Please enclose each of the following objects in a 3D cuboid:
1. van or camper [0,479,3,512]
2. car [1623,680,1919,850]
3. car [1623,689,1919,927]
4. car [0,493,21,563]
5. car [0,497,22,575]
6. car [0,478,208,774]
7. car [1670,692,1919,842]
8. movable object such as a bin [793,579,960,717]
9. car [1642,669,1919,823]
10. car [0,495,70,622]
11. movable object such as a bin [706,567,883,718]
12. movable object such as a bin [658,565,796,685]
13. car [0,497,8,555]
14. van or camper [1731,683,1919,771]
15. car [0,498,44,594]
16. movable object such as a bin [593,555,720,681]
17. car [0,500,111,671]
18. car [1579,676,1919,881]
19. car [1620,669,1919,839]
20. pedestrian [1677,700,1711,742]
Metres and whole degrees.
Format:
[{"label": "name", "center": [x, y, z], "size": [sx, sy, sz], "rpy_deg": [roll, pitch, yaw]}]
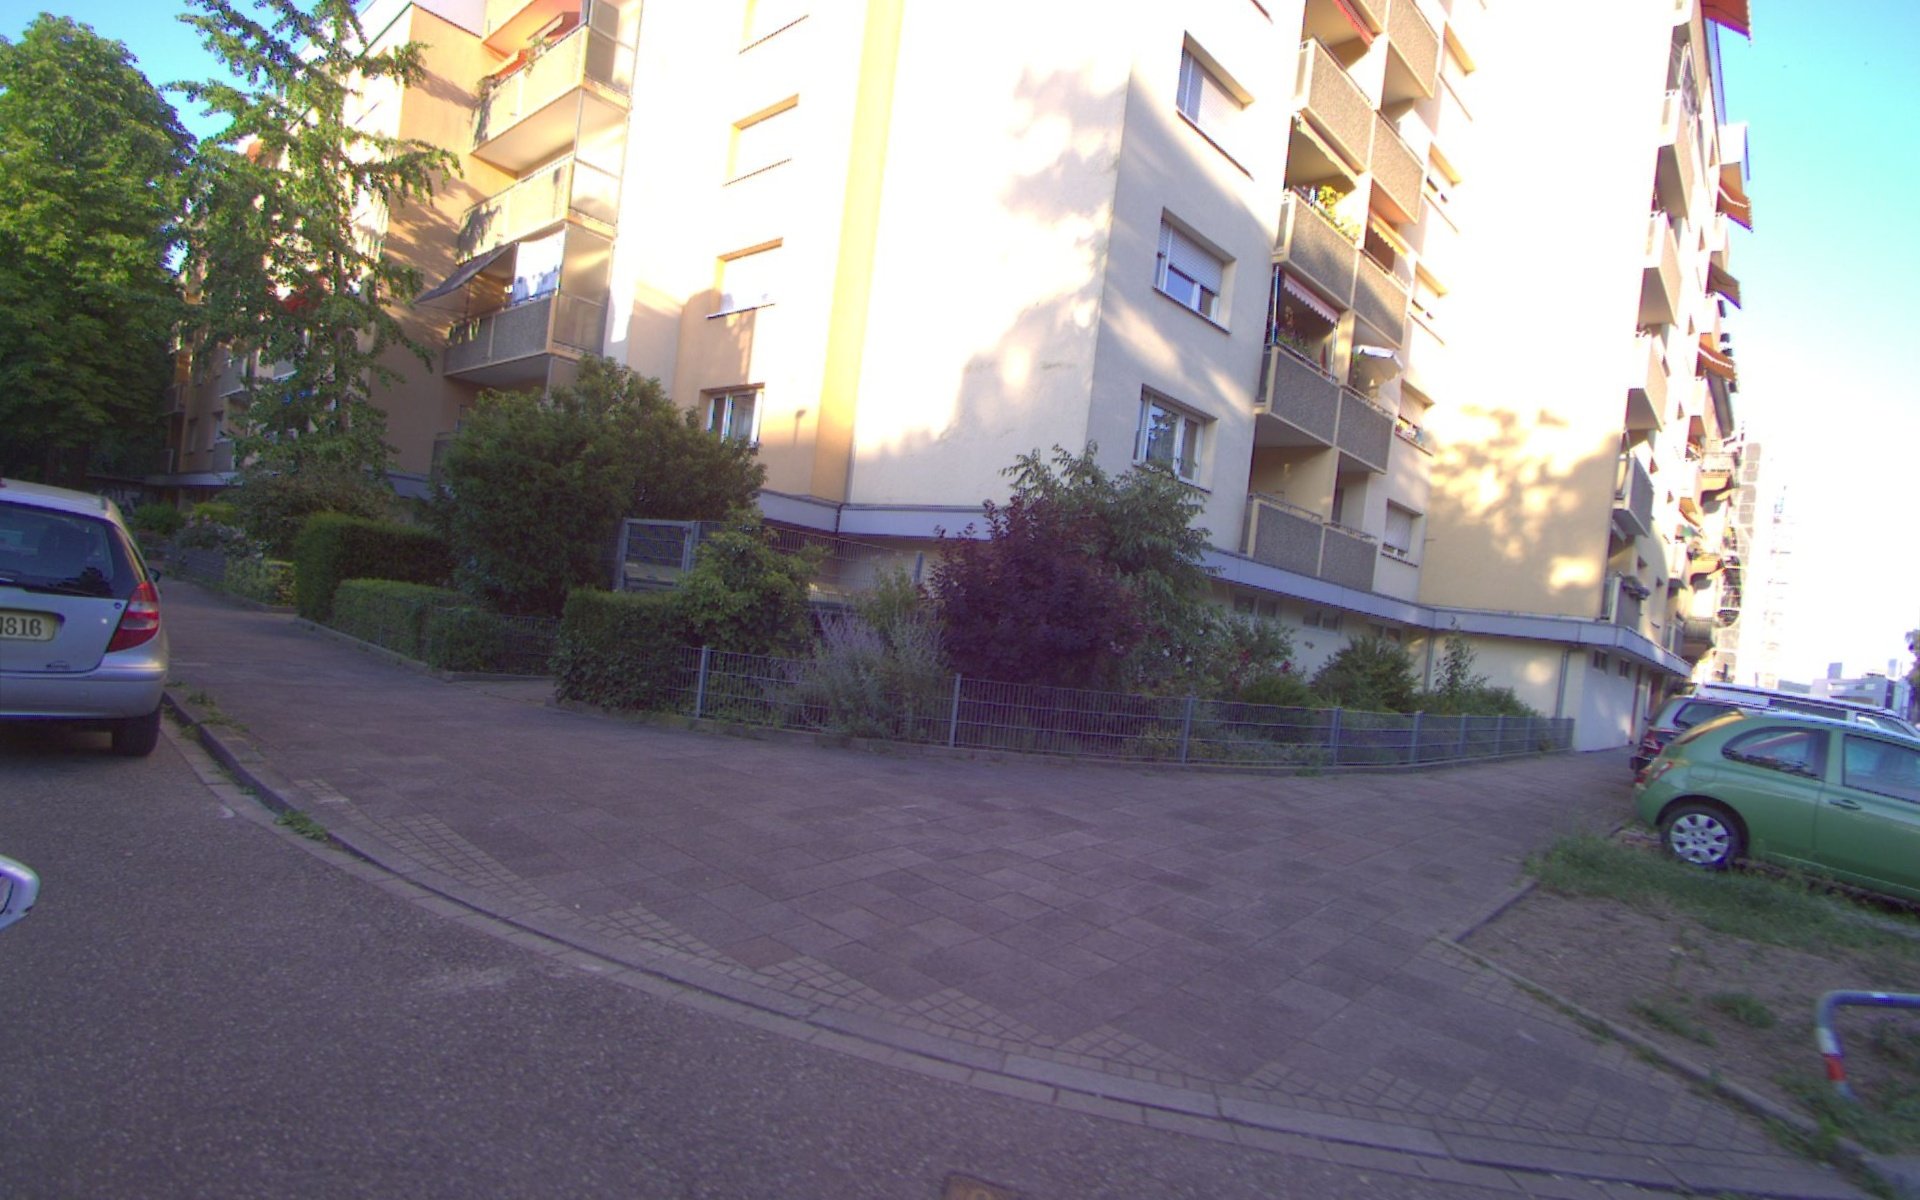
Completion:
[{"label": "van or camper", "center": [-34.661, -3.300, 34.645], "size": [5.021, 2.122, 2.060], "rpy_deg": [7, 0, 43]}, {"label": "car", "center": [11.210, 2.152, 13.226], "size": [3.938, 1.571, 1.823], "rpy_deg": [7, 0, 37]}, {"label": "car", "center": [8.058, 1.891, 8.758], "size": [3.518, 1.531, 1.621], "rpy_deg": [10, 1, 39]}, {"label": "car", "center": [-24.246, -1.907, 24.438], "size": [4.138, 1.582, 1.788], "rpy_deg": [7, 0, 44]}, {"label": "car", "center": [-20.655, -1.477, 20.764], "size": [4.000, 1.479, 1.606], "rpy_deg": [7, 0, 44]}, {"label": "car", "center": [-6.564, -0.019, 6.687], "size": [3.833, 1.595, 1.806], "rpy_deg": [7, 0, 44]}, {"label": "car", "center": [14.557, 2.789, 16.930], "size": [4.049, 1.835, 1.823], "rpy_deg": [7, 0, 37]}, {"label": "movable object such as a bin", "center": [-1.055, 0.606, 12.680], "size": [1.559, 1.489, 1.182], "rpy_deg": [8, 0, 40]}, {"label": "car", "center": [16.189, 2.750, 19.055], "size": [5.007, 2.111, 1.991], "rpy_deg": [7, 0, 42]}, {"label": "car", "center": [-12.953, -0.687, 13.018], "size": [3.845, 1.434, 1.805], "rpy_deg": [7, 0, 44]}, {"label": "movable object such as a bin", "center": [-1.918, 0.489, 11.602], "size": [1.559, 1.489, 1.122], "rpy_deg": [8, 0, 40]}, {"label": "movable object such as a bin", "center": [-3.209, 0.351, 13.862], "size": [1.282, 1.433, 1.182], "rpy_deg": [8, 0, 40]}, {"label": "car", "center": [-27.343, -2.183, 27.545], "size": [3.431, 1.529, 1.606], "rpy_deg": [7, 0, 44]}, {"label": "van or camper", "center": [35.344, 5.090, 40.909], "size": [6.016, 2.521, 2.187], "rpy_deg": [7, 0, 41]}, {"label": "car", "center": [-16.998, -1.085, 17.046], "size": [4.564, 1.434, 1.806], "rpy_deg": [7, 0, 44]}, {"label": "movable object such as a bin", "center": [-3.952, 0.230, 13.077], "size": [1.282, 1.433, 0.875], "rpy_deg": [8, 1, 40]}, {"label": "car", "center": [-9.897, -0.303, 10.027], "size": [3.974, 1.436, 1.713], "rpy_deg": [7, 0, 44]}, {"label": "car", "center": [9.204, 1.923, 10.948], "size": [3.938, 1.571, 1.823], "rpy_deg": [7, 0, 37]}, {"label": "car", "center": [12.548, 2.267, 15.263], "size": [3.991, 1.835, 1.823], "rpy_deg": [7, 0, 37]}, {"label": "pedestrian", "center": [34.496, 5.678, 47.300], "size": [1.147, 1.800, 0.869], "rpy_deg": [4, 1, 34]}]
